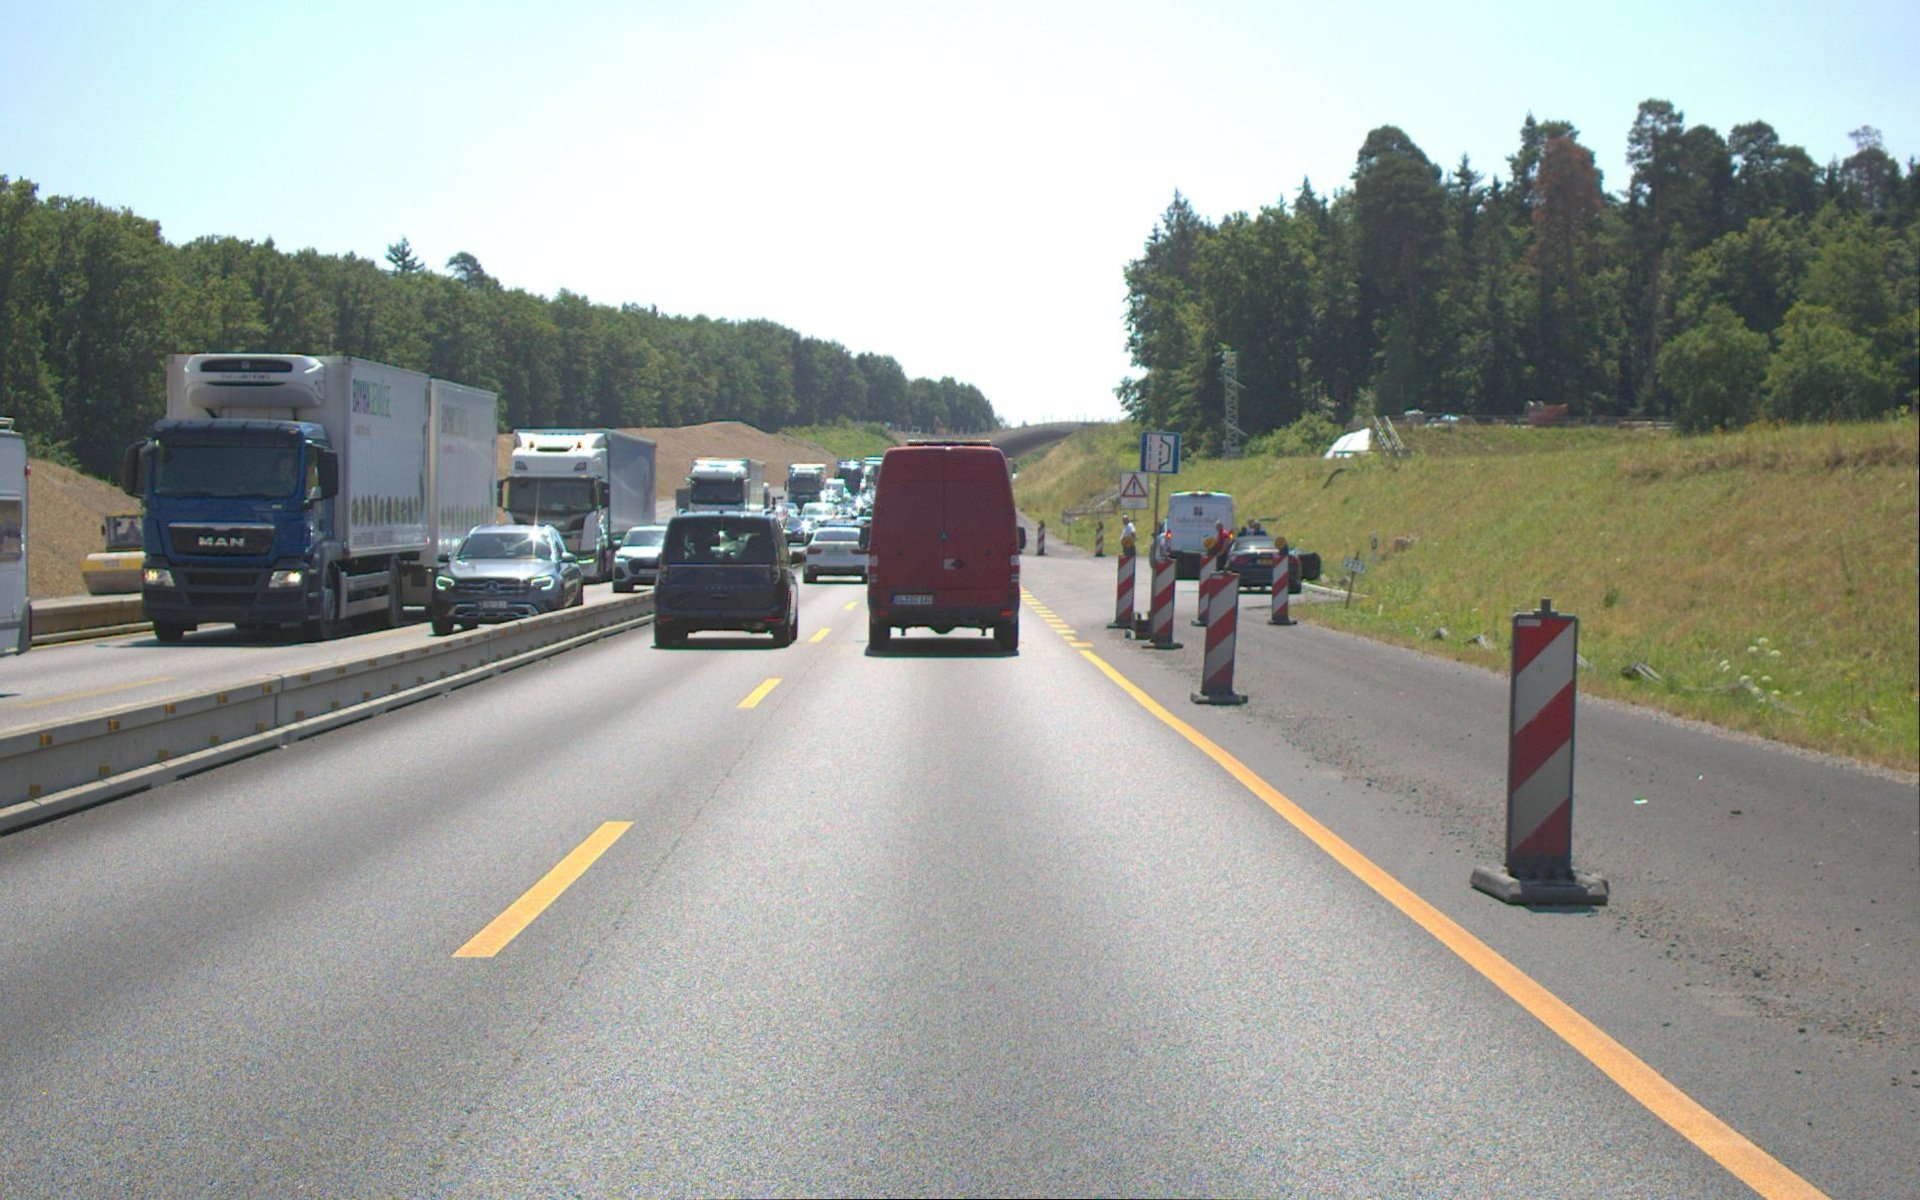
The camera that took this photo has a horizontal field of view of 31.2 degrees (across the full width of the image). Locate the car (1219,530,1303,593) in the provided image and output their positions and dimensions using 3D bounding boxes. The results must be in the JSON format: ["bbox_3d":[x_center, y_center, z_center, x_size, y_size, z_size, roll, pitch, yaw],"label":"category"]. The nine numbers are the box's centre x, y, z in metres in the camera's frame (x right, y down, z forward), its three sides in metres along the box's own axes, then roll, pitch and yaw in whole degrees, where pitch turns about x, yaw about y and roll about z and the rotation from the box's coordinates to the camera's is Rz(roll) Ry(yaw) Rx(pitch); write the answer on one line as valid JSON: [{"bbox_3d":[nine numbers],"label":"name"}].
[{"bbox_3d":[7.411,-0.979,84.948,1.654,1.422,4.545,-2,2,0],"label":"car"}]

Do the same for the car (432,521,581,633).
[{"bbox_3d":[-6.837,-0.356,52.230,1.688,1.608,4.594,1,0,-1],"label":"car"}]

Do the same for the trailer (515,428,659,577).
[{"bbox_3d":[-10.580,-2.754,98.922,2.653,3.925,13.997,1,1,0],"label":"trailer"}]

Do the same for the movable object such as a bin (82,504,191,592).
[{"bbox_3d":[-30.624,-1.976,128.064,2.168,3.098,7.165,-2,2,1],"label":"movable object such as a bin"}]

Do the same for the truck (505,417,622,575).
[{"bbox_3d":[-10.530,-2.752,91.683,2.591,4.039,5.150,1,1,-1],"label":"truck"}]

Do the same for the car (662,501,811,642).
[{"bbox_3d":[-3.052,-0.437,47.661,1.751,1.818,4.783,1,1,0],"label":"car"}]

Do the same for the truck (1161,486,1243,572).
[{"bbox_3d":[7.299,-2.148,103.126,2.130,2.448,5.924,1,2,7],"label":"truck"}]

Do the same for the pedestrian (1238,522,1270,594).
[{"bbox_3d":[7.538,-1.070,88.067,0.624,1.822,0.643,1,2,-12],"label":"pedestrian"}]

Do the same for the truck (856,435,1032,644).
[{"bbox_3d":[-0.280,-0.786,45.869,2.153,2.581,5.334,1,1,-2],"label":"truck"}]

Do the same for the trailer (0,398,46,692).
[{"bbox_3d":[-9.888,-0.447,29.469,2.311,2.677,6.756,-1,1,-1],"label":"trailer"}]

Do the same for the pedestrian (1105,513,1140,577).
[{"bbox_3d":[4.693,-1.586,99.443,0.723,1.822,0.720,1,0,-28],"label":"pedestrian"}]

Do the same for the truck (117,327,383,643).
[{"bbox_3d":[-10.015,-1.600,49.071,2.491,4.184,5.912,-1,1,0],"label":"truck"}]

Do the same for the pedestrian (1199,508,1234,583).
[{"bbox_3d":[6.303,-1.345,84.488,0.640,1.822,0.559,1,2,-21],"label":"pedestrian"}]

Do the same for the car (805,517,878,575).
[{"bbox_3d":[-3.190,-1.455,92.957,1.831,1.517,3.961,1,1,0],"label":"car"}]

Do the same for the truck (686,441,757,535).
[{"bbox_3d":[-10.607,-4.975,153.279,2.768,4.030,4.943,1,0,0],"label":"truck"}]

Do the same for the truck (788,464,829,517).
[{"bbox_3d":[-11.246,-8.094,255.361,2.509,3.604,9.641,1,0,0],"label":"truck"}]

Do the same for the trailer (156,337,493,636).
[{"bbox_3d":[-9.993,-1.748,56.112,2.502,4.165,15.534,-1,1,0],"label":"trailer"}]

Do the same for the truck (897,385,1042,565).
[{"bbox_3d":[0.256,-3.963,115.093,4.400,5.477,16.604,1,0,0],"label":"truck"}]

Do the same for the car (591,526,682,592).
[{"bbox_3d":[-7.643,-0.971,81.526,1.807,1.483,4.243,1,0,-1],"label":"car"}]
